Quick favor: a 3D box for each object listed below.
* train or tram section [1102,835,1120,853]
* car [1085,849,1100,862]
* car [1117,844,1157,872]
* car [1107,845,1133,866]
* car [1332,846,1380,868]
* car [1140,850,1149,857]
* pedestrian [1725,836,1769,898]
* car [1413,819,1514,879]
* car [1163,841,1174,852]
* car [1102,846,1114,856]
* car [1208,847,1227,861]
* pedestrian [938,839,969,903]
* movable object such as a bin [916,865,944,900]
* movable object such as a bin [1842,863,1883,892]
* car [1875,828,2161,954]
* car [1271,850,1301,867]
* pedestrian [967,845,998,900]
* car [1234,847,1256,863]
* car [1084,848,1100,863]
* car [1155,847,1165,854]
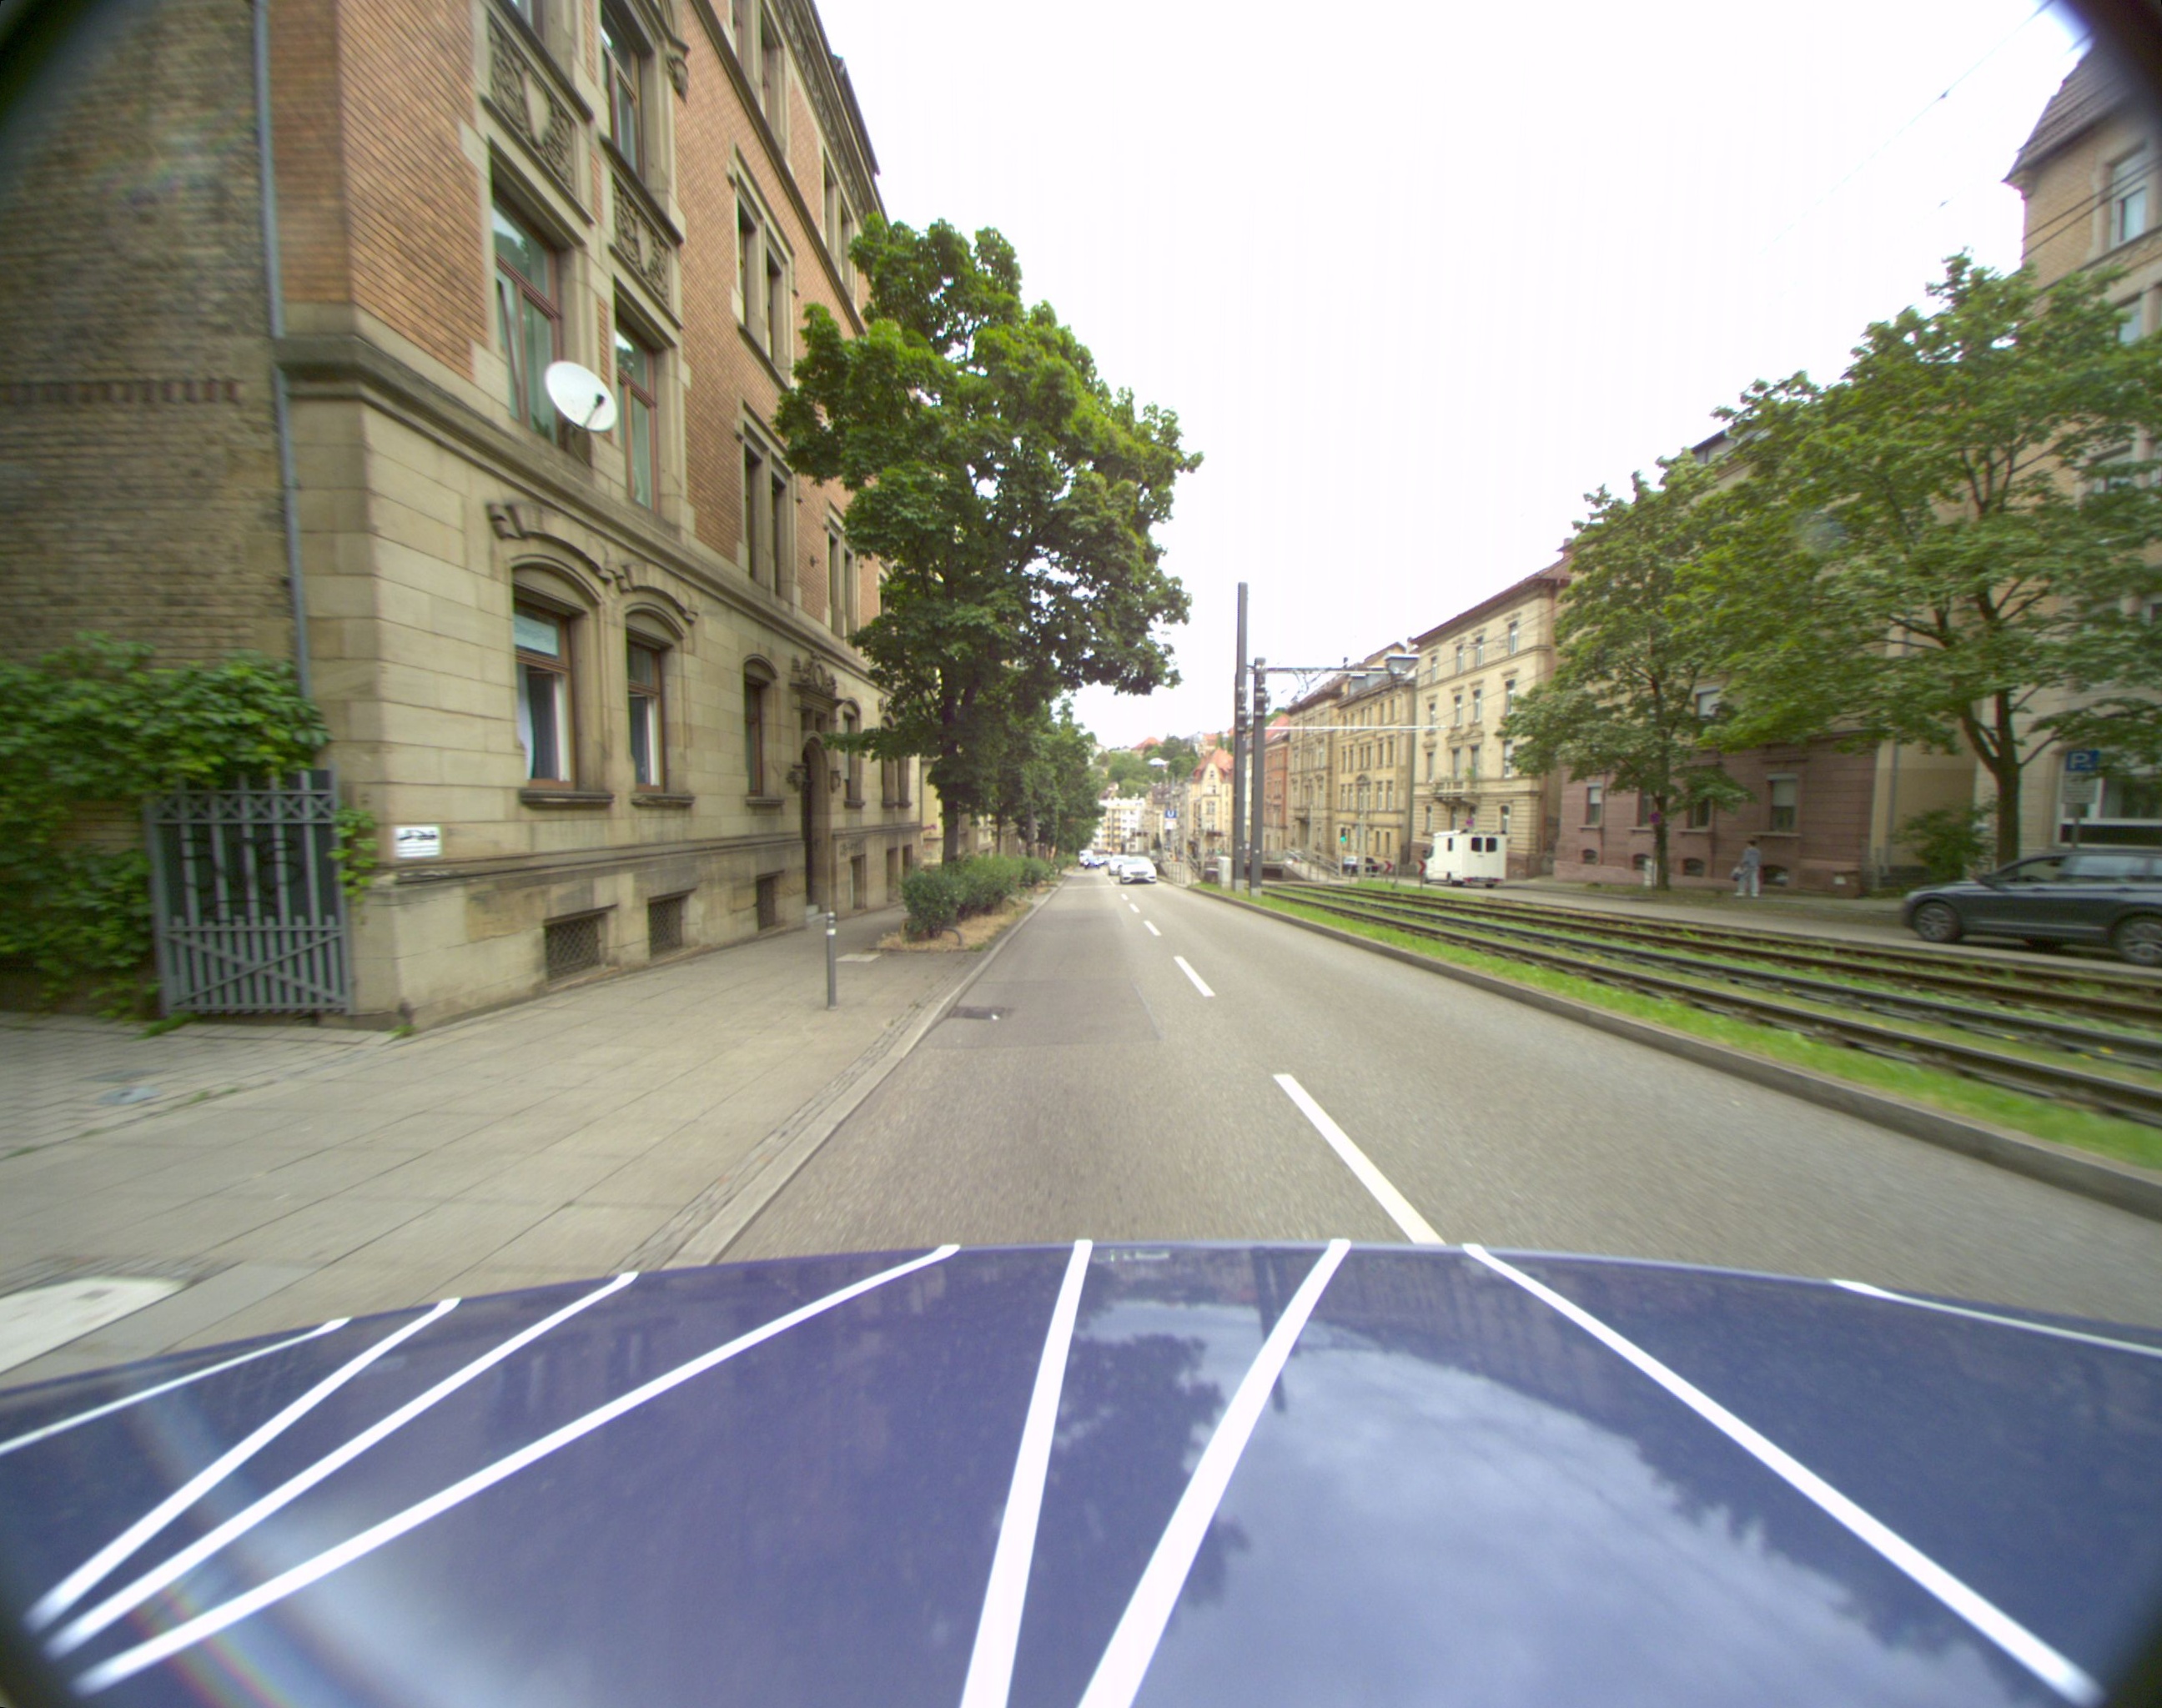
[{"bbox_3d":[6.215,-1.977,160.458,2.968,3.456,14.408,1,0,-1],"label":"train or tram section"},{"bbox_3d":[1.321,0.199,86.334,1.694,1.466,3.857,0,0,1],"label":"car"},{"bbox_3d":[2.926,0.227,40.377,1.806,1.391,4.000,0,0,0],"label":"car"},{"bbox_3d":[2.938,0.104,57.807,1.806,1.542,4.000,0,0,1],"label":"car"},{"bbox_3d":[19.472,0.205,53.970,1.752,1.420,4.749,2,0,2],"label":"car"},{"bbox_3d":[16.736,-0.085,201.142,1.999,1.883,4.414,0,0,0],"label":"car"},{"bbox_3d":[21.916,0.424,25.008,0.722,2.002,0.797,0,0,-1],"label":"pedestrian"},{"bbox_3d":[18.905,-0.243,37.985,2.396,2.684,6.522,2,0,7],"label":"car"},{"bbox_3d":[19.181,-1.576,166.394,1.998,2.291,5.455,0,0,1],"label":"car"},{"bbox_3d":[3.809,-0.381,108.051,1.562,1.330,4.001,0,0,1],"label":"car"},{"bbox_3d":[17.596,0.032,98.097,1.713,1.725,4.576,1,0,2],"label":"car"},{"bbox_3d":[-3.831,0.484,22.857,0.687,1.820,1.121,2,3,1],"label":"pedestrian"},{"bbox_3d":[-4.562,0.868,22.967,0.672,1.010,0.582,2,-1,-1],"label":"movable object such as a bin"},{"bbox_3d":[23.348,0.695,22.712,0.584,0.831,0.629,1,0,1],"label":"movable object such as a bin"},{"bbox_3d":[15.109,0.518,11.353,1.884,1.640,4.471,2,0,3],"label":"car"},{"bbox_3d":[17.197,0.396,63.919,1.580,1.369,3.655,1,0,0],"label":"car"},{"bbox_3d":[-2.946,0.530,22.806,0.687,1.566,1.216,2,3,1],"label":"pedestrian"},{"bbox_3d":[19.884,0.116,92.330,1.853,1.849,4.138,1,0,1],"label":"car"},{"bbox_3d":[1.603,0.235,112.587,2.263,2.274,5.968,-1,0,1],"label":"car"},{"bbox_3d":[19.142,-0.897,183.668,1.867,1.636,4.414,0,0,0],"label":"car"}]
